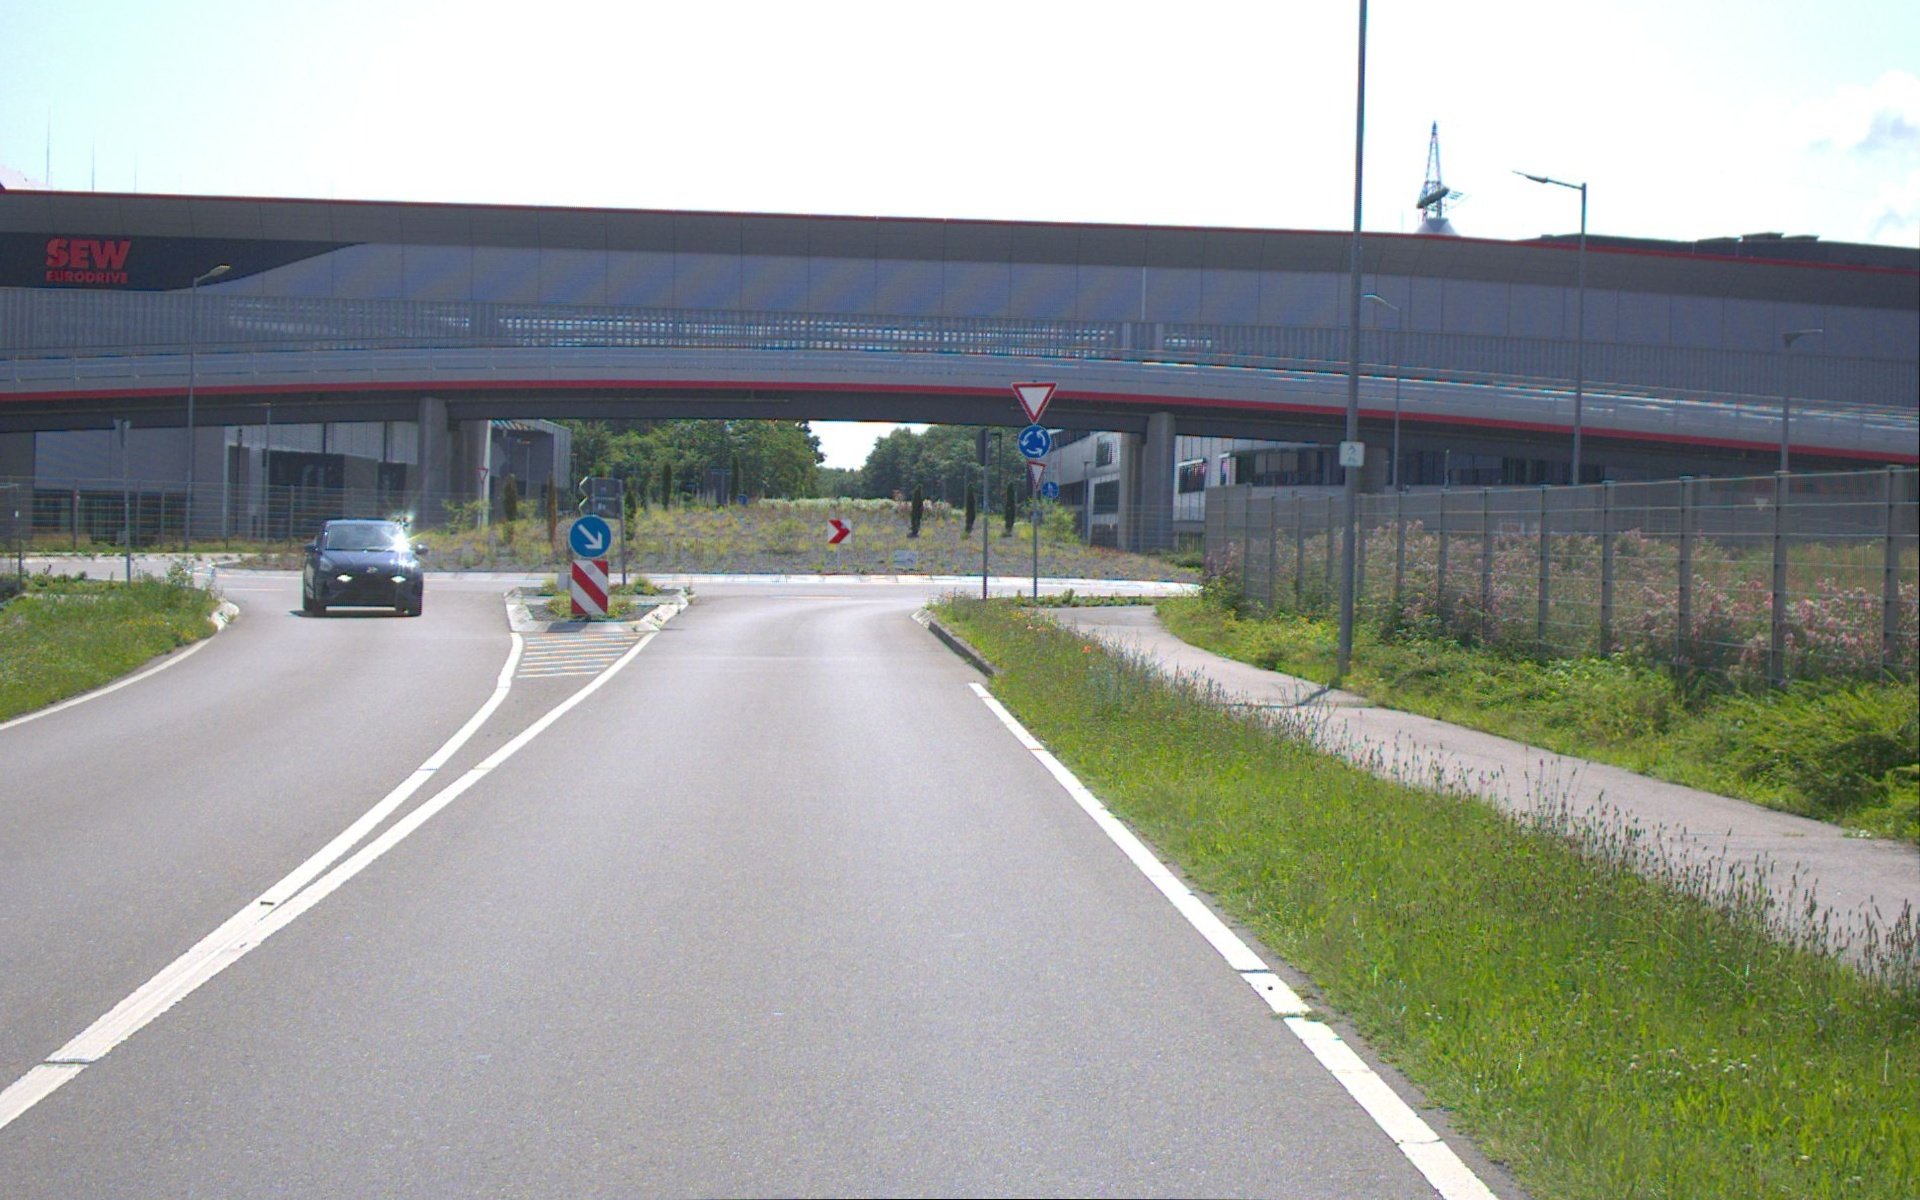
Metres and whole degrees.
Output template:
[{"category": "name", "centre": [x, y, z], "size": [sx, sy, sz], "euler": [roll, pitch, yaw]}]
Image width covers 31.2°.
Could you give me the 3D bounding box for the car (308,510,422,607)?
[{"category": "car", "centre": [-9.476, -0.668, 54.607], "size": [1.702, 1.476, 4.001], "euler": [0, 1, -11]}]
